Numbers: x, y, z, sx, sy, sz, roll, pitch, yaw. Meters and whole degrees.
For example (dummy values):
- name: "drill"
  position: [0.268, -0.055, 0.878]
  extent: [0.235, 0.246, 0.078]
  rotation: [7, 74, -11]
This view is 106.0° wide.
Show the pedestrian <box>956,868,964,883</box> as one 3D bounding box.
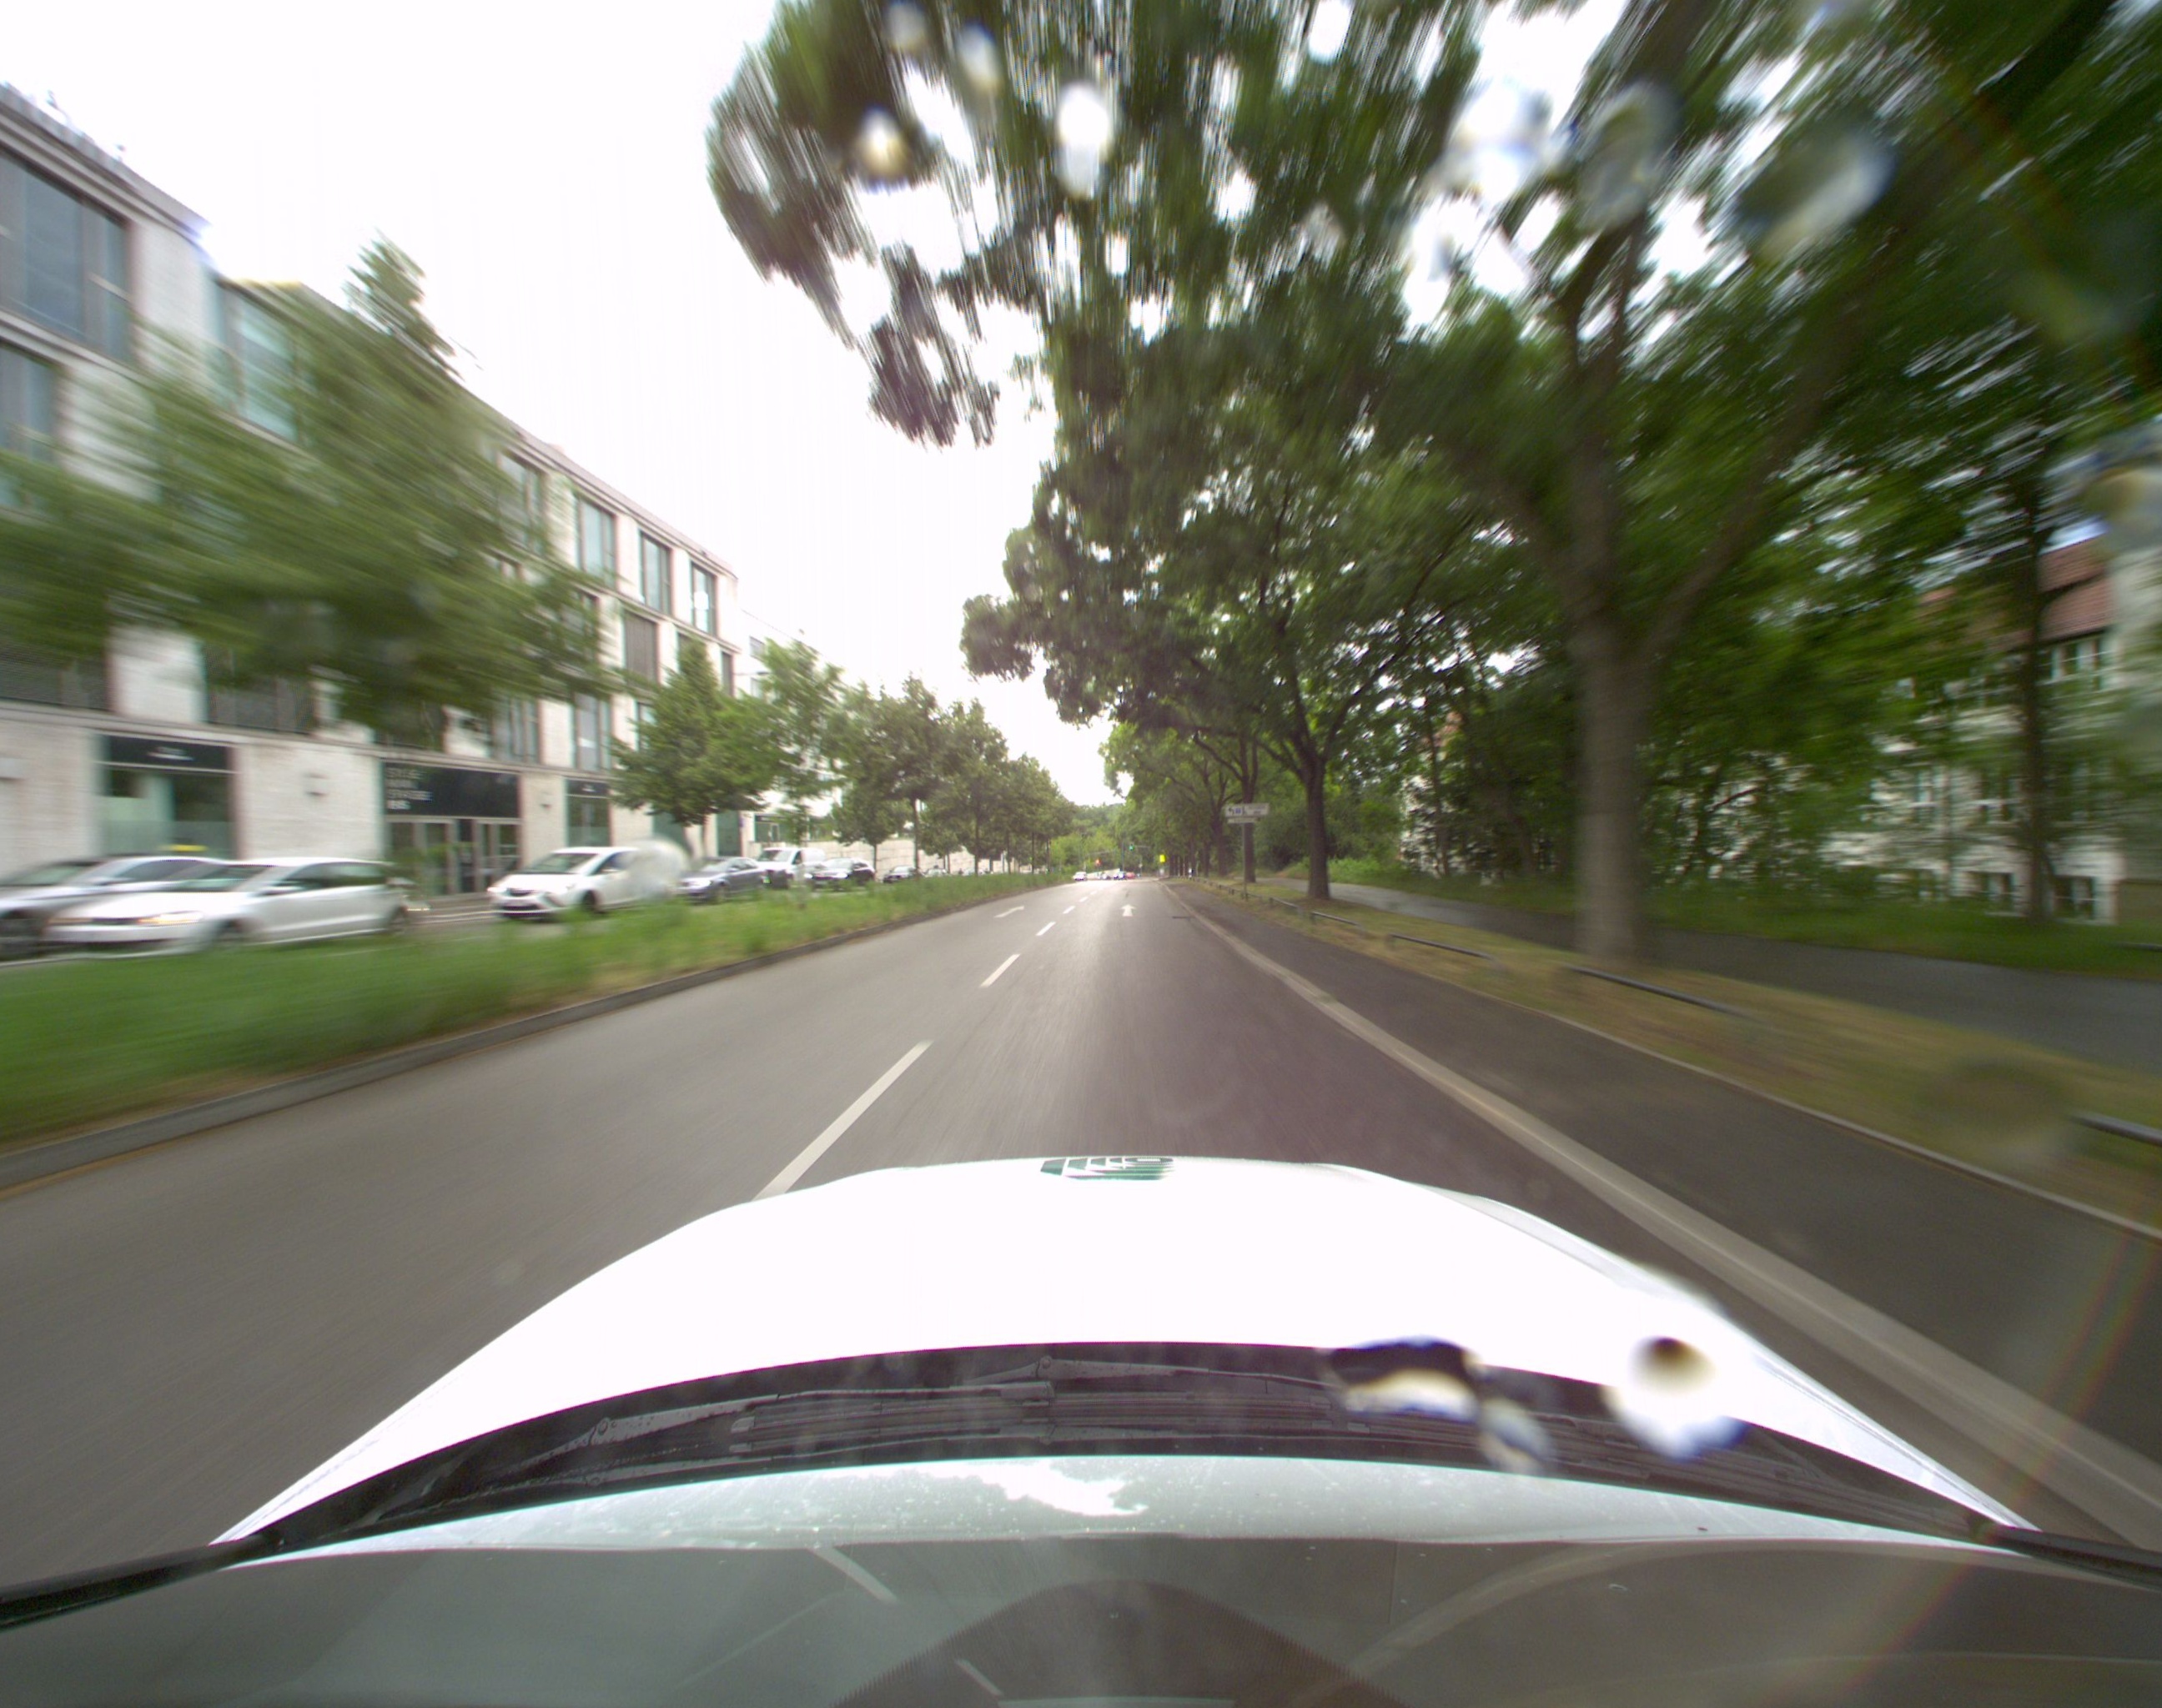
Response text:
- name: "pedestrian"
  position: [-14.095, 2.483, 95.169]
  extent: [0.704, 1.775, 1.022]
  rotation: [-2, -2, 4]

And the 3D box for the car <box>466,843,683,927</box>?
- name: "car"
  position: [-11.591, 0.620, 19.115]
  extent: [1.821, 1.600, 4.681]
  rotation: [-2, 2, 5]

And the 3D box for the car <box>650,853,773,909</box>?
- name: "car"
  position: [-11.197, 0.762, 25.003]
  extent: [1.633, 1.410, 4.002]
  rotation: [-2, 2, 5]

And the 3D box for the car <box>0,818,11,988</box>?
- name: "car"
  position: [-12.568, 0.584, 6.381]
  extent: [1.835, 1.802, 4.780]
  rotation: [0, 2, 4]

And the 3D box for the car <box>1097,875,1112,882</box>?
- name: "car"
  position: [4.796, 4.975, 164.854]
  extent: [1.756, 1.381, 4.209]
  rotation: [-4, -2, 18]

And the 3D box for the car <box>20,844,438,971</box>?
- name: "car"
  position: [-12.235, 0.647, 12.182]
  extent: [1.735, 1.467, 4.066]
  rotation: [-2, 2, 5]

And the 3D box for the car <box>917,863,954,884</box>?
- name: "car"
  position: [-11.061, 1.453, 62.058]
  extent: [1.686, 1.444, 3.867]
  rotation: [0, 1, 6]

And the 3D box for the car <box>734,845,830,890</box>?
- name: "car"
  position: [-13.191, 0.595, 36.389]
  extent: [2.113, 1.816, 5.264]
  rotation: [-1, -1, 3]

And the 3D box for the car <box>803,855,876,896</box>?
- name: "car"
  position: [-10.329, 0.877, 35.115]
  extent: [1.687, 1.581, 4.021]
  rotation: [-1, 0, 4]

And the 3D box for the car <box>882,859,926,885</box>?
- name: "car"
  position: [-11.628, 1.130, 53.758]
  extent: [1.687, 1.581, 4.023]
  rotation: [-1, 0, 5]

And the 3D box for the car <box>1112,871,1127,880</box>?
- name: "car"
  position: [8.392, 4.641, 176.902]
  extent: [1.905, 1.857, 4.526]
  rotation: [-6, -2, 17]

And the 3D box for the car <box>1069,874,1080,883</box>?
- name: "car"
  position: [-1.165, 4.497, 150.153]
  extent: [1.703, 1.747, 4.341]
  rotation: [-1, -2, 3]

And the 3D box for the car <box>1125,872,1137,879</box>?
- name: "car"
  position: [11.857, 5.083, 192.786]
  extent: [1.859, 1.575, 4.243]
  rotation: [1, -1, 20]
